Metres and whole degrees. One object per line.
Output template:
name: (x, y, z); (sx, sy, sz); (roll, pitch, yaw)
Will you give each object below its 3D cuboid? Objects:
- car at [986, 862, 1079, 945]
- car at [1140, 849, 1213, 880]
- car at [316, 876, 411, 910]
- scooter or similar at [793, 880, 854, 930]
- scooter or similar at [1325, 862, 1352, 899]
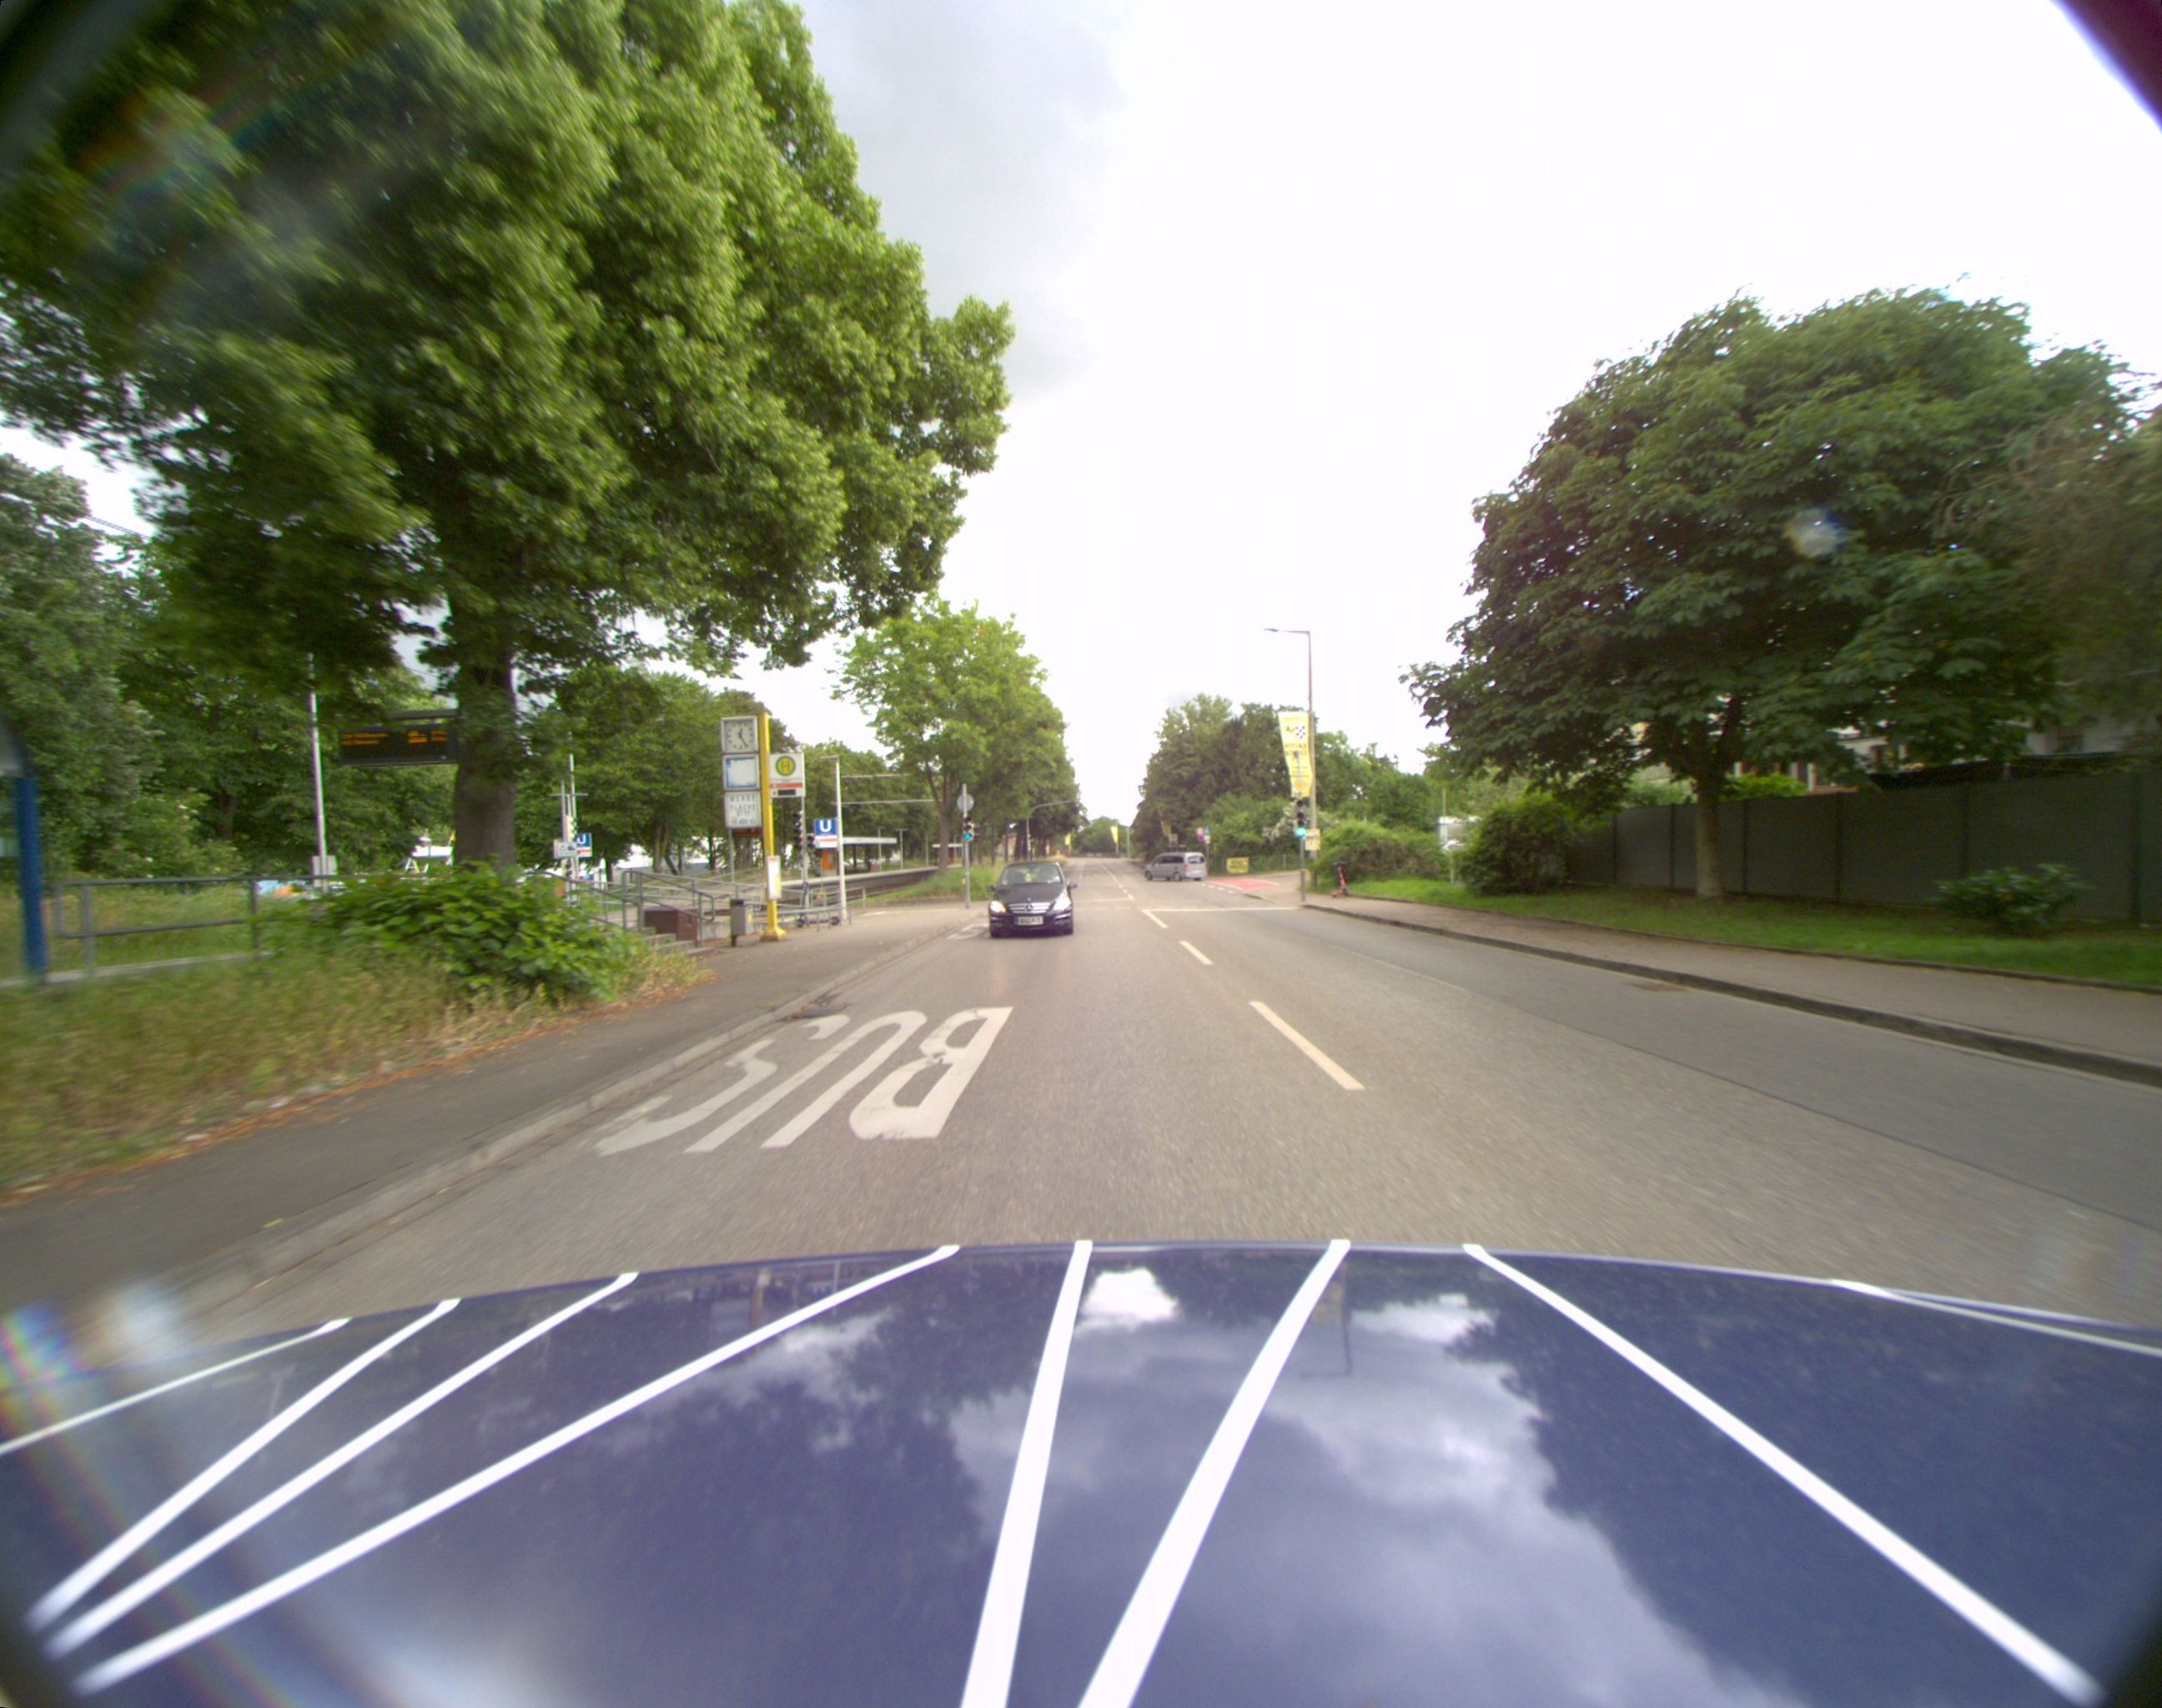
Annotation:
car: (-0.980, 1.021, 17.316); (1.751, 1.556, 4.074); (-1, 1, 1)
car: (6.542, 0.746, 52.694); (1.955, 1.916, 5.143); (-3, 0, -35)
car: (-57.582, 3.082, 61.168); (1.998, 2.369, 5.807); (-2, 0, 1)
scooter or similar: (-6.903, 1.357, 20.379); (1.459, 1.235, 0.484); (-3, 0, -20)
scooter or similar: (9.012, 0.911, 26.603); (0.463, 1.251, 1.426); (-2, 0, 2)
